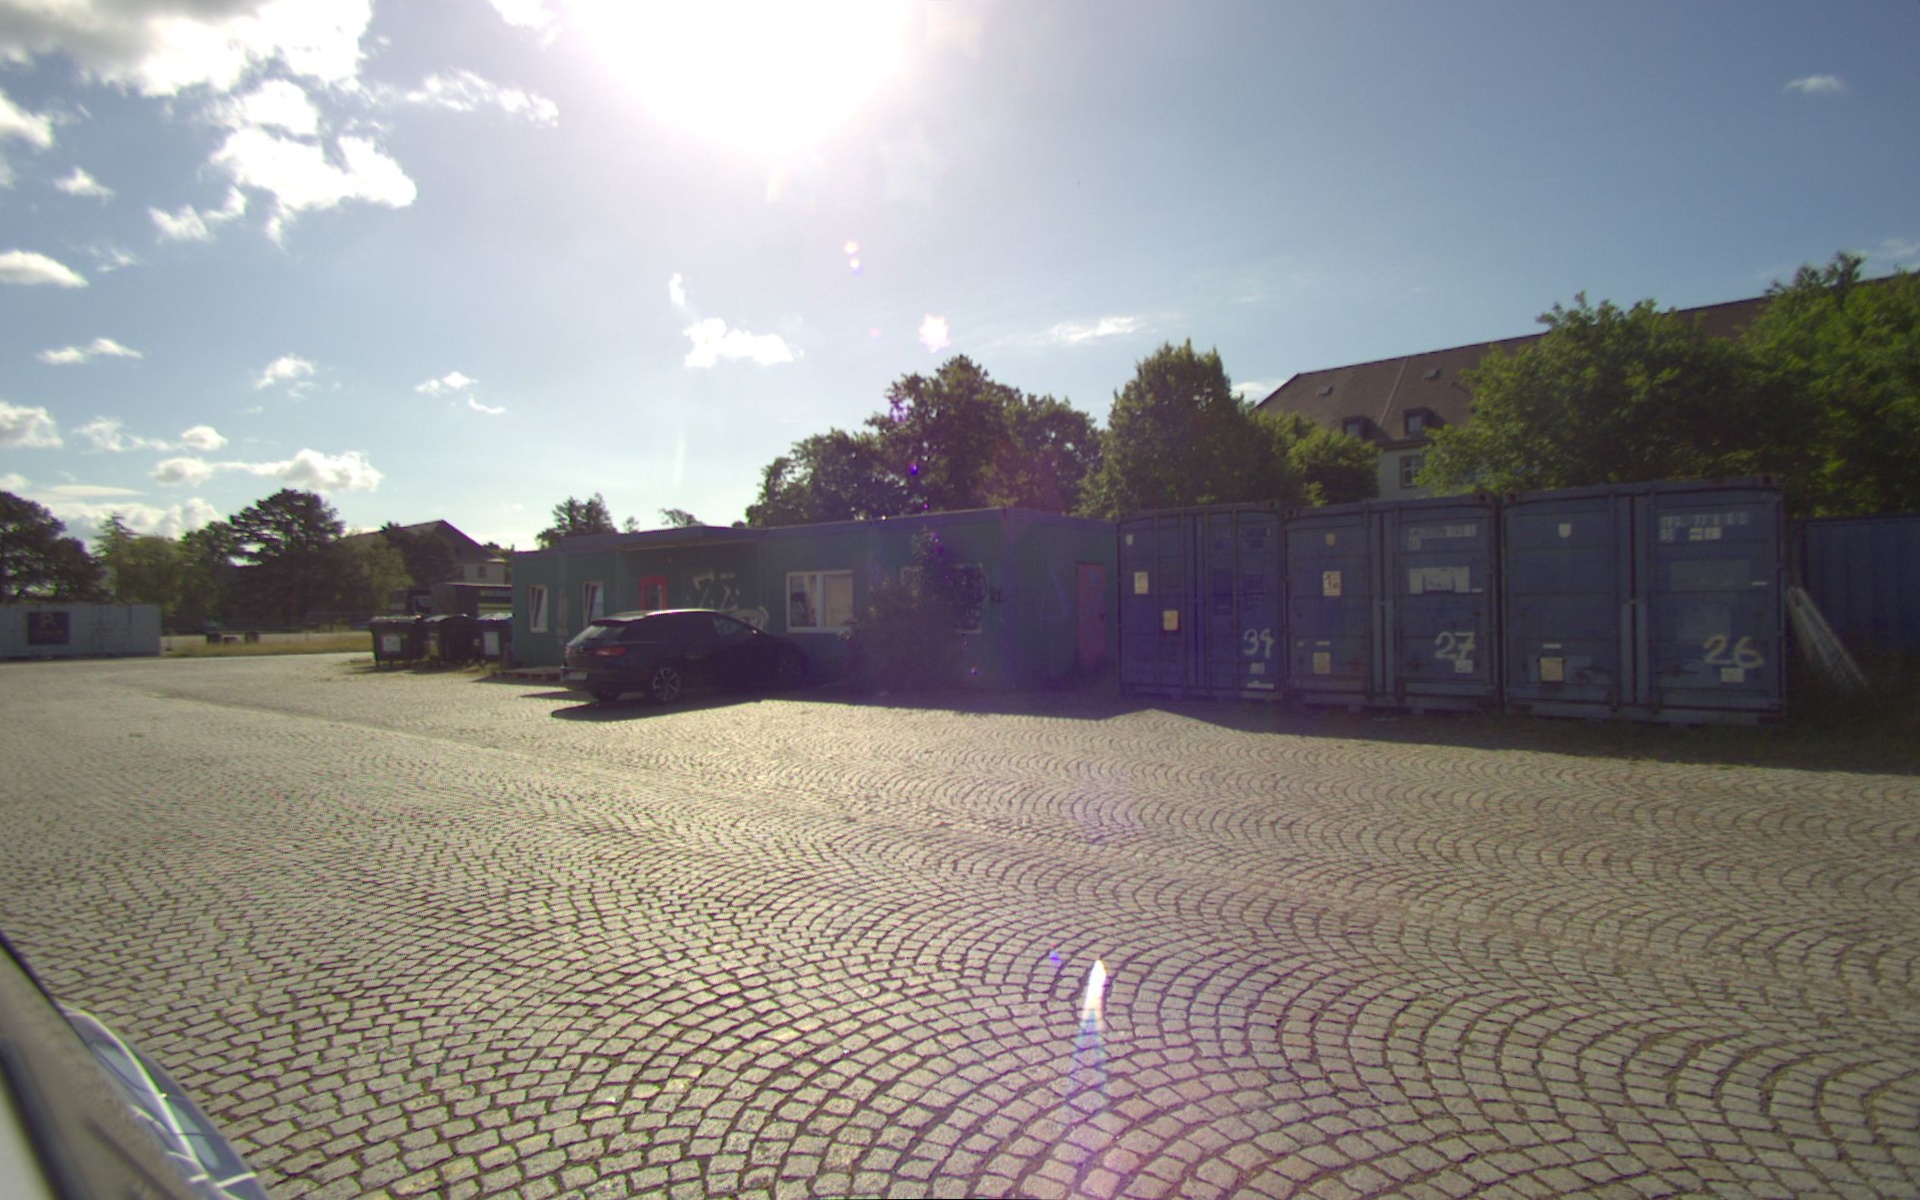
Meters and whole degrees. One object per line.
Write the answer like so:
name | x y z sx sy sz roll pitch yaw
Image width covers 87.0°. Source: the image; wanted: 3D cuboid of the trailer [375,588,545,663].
trailer | -16.537 0.798 33.633 2.136 2.315 4.606 -2 -1 41

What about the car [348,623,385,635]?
car | -82.054 4.003 139.987 1.996 1.594 3.951 -1 -1 36

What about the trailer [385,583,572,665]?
trailer | -14.947 0.719 31.666 2.092 2.372 4.914 -2 -1 37

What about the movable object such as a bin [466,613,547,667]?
movable object such as a bin | -12.242 1.076 27.335 1.529 1.397 1.373 -1 -1 29

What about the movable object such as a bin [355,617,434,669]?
movable object such as a bin | -16.026 1.204 28.711 1.513 1.397 1.387 -1 -1 -4

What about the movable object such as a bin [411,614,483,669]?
movable object such as a bin | -14.054 1.112 27.734 1.535 1.433 1.282 -2 -1 42

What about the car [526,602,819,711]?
car | -4.627 0.836 16.864 1.997 1.475 4.374 -2 0 37
